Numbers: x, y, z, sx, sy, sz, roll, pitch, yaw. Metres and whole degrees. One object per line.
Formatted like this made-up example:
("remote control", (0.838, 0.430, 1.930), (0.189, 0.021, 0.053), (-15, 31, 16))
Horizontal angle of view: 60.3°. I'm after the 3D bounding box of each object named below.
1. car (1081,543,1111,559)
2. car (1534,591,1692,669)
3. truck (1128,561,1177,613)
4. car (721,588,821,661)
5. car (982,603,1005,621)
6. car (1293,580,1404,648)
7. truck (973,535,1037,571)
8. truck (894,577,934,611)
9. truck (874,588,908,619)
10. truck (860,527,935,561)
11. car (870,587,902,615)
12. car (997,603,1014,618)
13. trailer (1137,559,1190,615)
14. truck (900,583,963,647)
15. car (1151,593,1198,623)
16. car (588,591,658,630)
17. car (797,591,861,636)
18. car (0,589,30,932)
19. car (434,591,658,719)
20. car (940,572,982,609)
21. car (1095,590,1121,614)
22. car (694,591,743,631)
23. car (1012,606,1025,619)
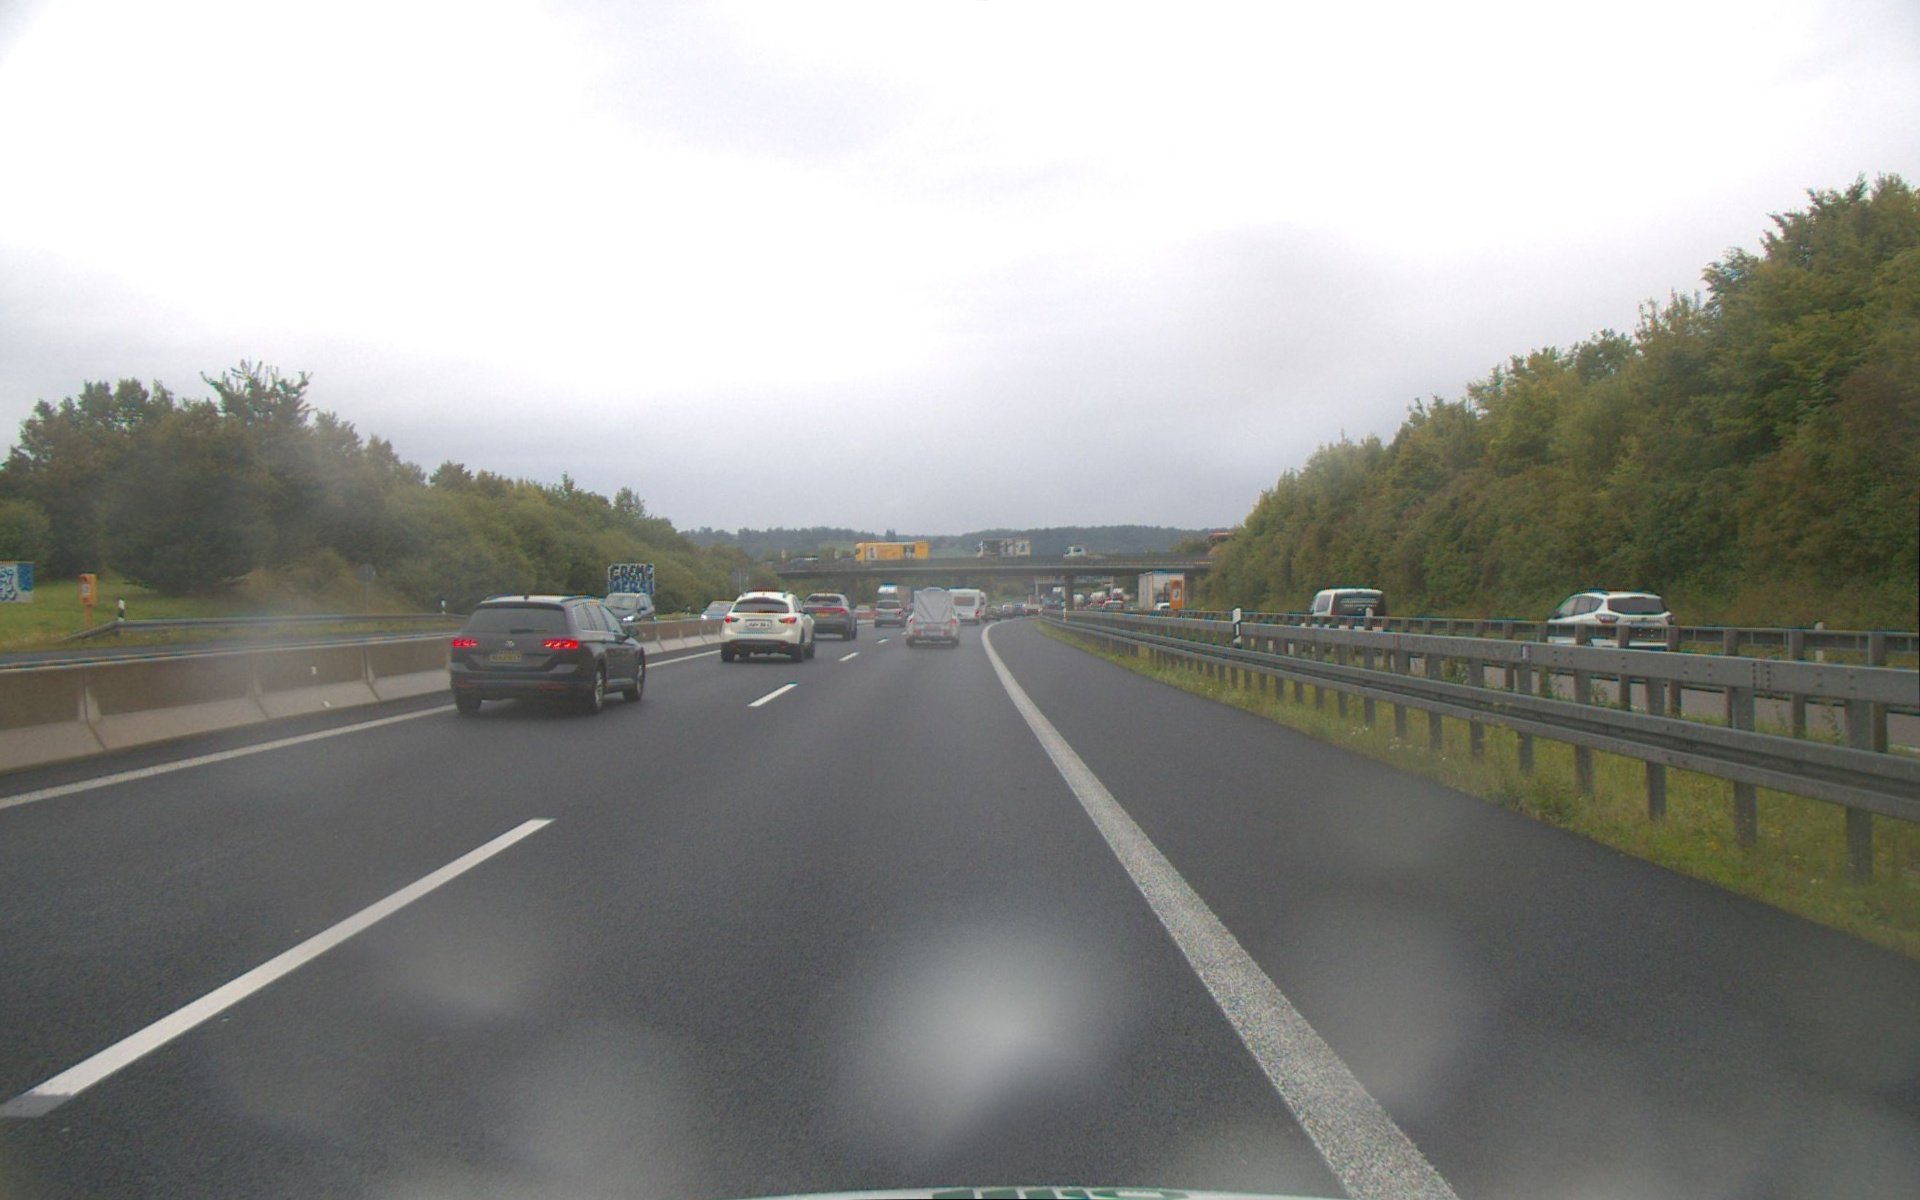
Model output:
("car", (18.263, -6.571, 222.449), (1.825, 1.948, 3.944), (1, 0, -39))
("car", (14.433, 0.620, 36.808), (1.858, 1.641, 4.145), (0, 0, -1))
("truck", (16.653, -1.119, 143.577), (3.366, 4.364, 10.421), (0, 0, 2))
("car", (-4.531, 0.557, 40.310), (1.936, 1.668, 4.500), (0, 0, 0))
("car", (3.391, 1.192, 168.304), (1.954, 1.780, 3.997), (1, 0, -4))
("car", (10.946, 0.375, 46.889), (1.968, 1.846, 4.274), (0, 0, -3))
("truck", (6.353, -6.734, 237.295), (3.740, 4.920, 9.906), (0, 0, -38))
("truck", (-5.057, -0.640, 185.731), (3.688, 3.616, 13.190), (0, 0, 2))
("truck", (-9.312, 0.435, 225.764), (3.688, 4.062, 13.190), (0, 0, 2))
("truck", (-9.928, -8.741, 259.506), (3.740, 4.920, 15.035), (0, 0, -38))
("car", (-4.416, 0.020, 99.082), (1.862, 1.641, 4.015), (0, 0, -2))
("car", (5.800, 1.339, 211.147), (1.953, 1.780, 4.000), (1, 0, 0))
("trailer", (16.308, -1.051, 133.133), (3.366, 4.364, 10.457), (0, 0, 2))
("truck", (-0.948, 0.437, 55.822), (1.978, 2.020, 7.211), (0, 0, -1))
("car", (11.797, 0.419, 91.154), (1.967, 1.575, 4.695), (0, 0, -1))
("car", (-13.557, 0.402, 66.771), (1.942, 1.532, 4.637), (0, 0, -1))
("car", (-4.915, 0.481, 62.743), (2.130, 1.660, 4.500), (0, 0, -1))
("car", (-4.902, 0.683, 4.862), (1.862, 1.430, 4.458), (0, 0, -1))
("car", (-5.355, 0.668, 22.076), (1.862, 1.523, 4.850), (0, 0, -1))
("car", (0.108, -0.737, 121.966), (2.954, 2.662, 6.075), (0, 0, 1))
("car", (11.903, 0.158, 133.256), (1.821, 1.837, 4.648), (0, 0, 1))
("car", (-12.253, 0.555, 84.178), (1.953, 1.935, 4.171), (1, 0, -2))
("car", (8.583, 1.810, 242.922), (1.952, 1.780, 4.000), (1, 0, 1))
